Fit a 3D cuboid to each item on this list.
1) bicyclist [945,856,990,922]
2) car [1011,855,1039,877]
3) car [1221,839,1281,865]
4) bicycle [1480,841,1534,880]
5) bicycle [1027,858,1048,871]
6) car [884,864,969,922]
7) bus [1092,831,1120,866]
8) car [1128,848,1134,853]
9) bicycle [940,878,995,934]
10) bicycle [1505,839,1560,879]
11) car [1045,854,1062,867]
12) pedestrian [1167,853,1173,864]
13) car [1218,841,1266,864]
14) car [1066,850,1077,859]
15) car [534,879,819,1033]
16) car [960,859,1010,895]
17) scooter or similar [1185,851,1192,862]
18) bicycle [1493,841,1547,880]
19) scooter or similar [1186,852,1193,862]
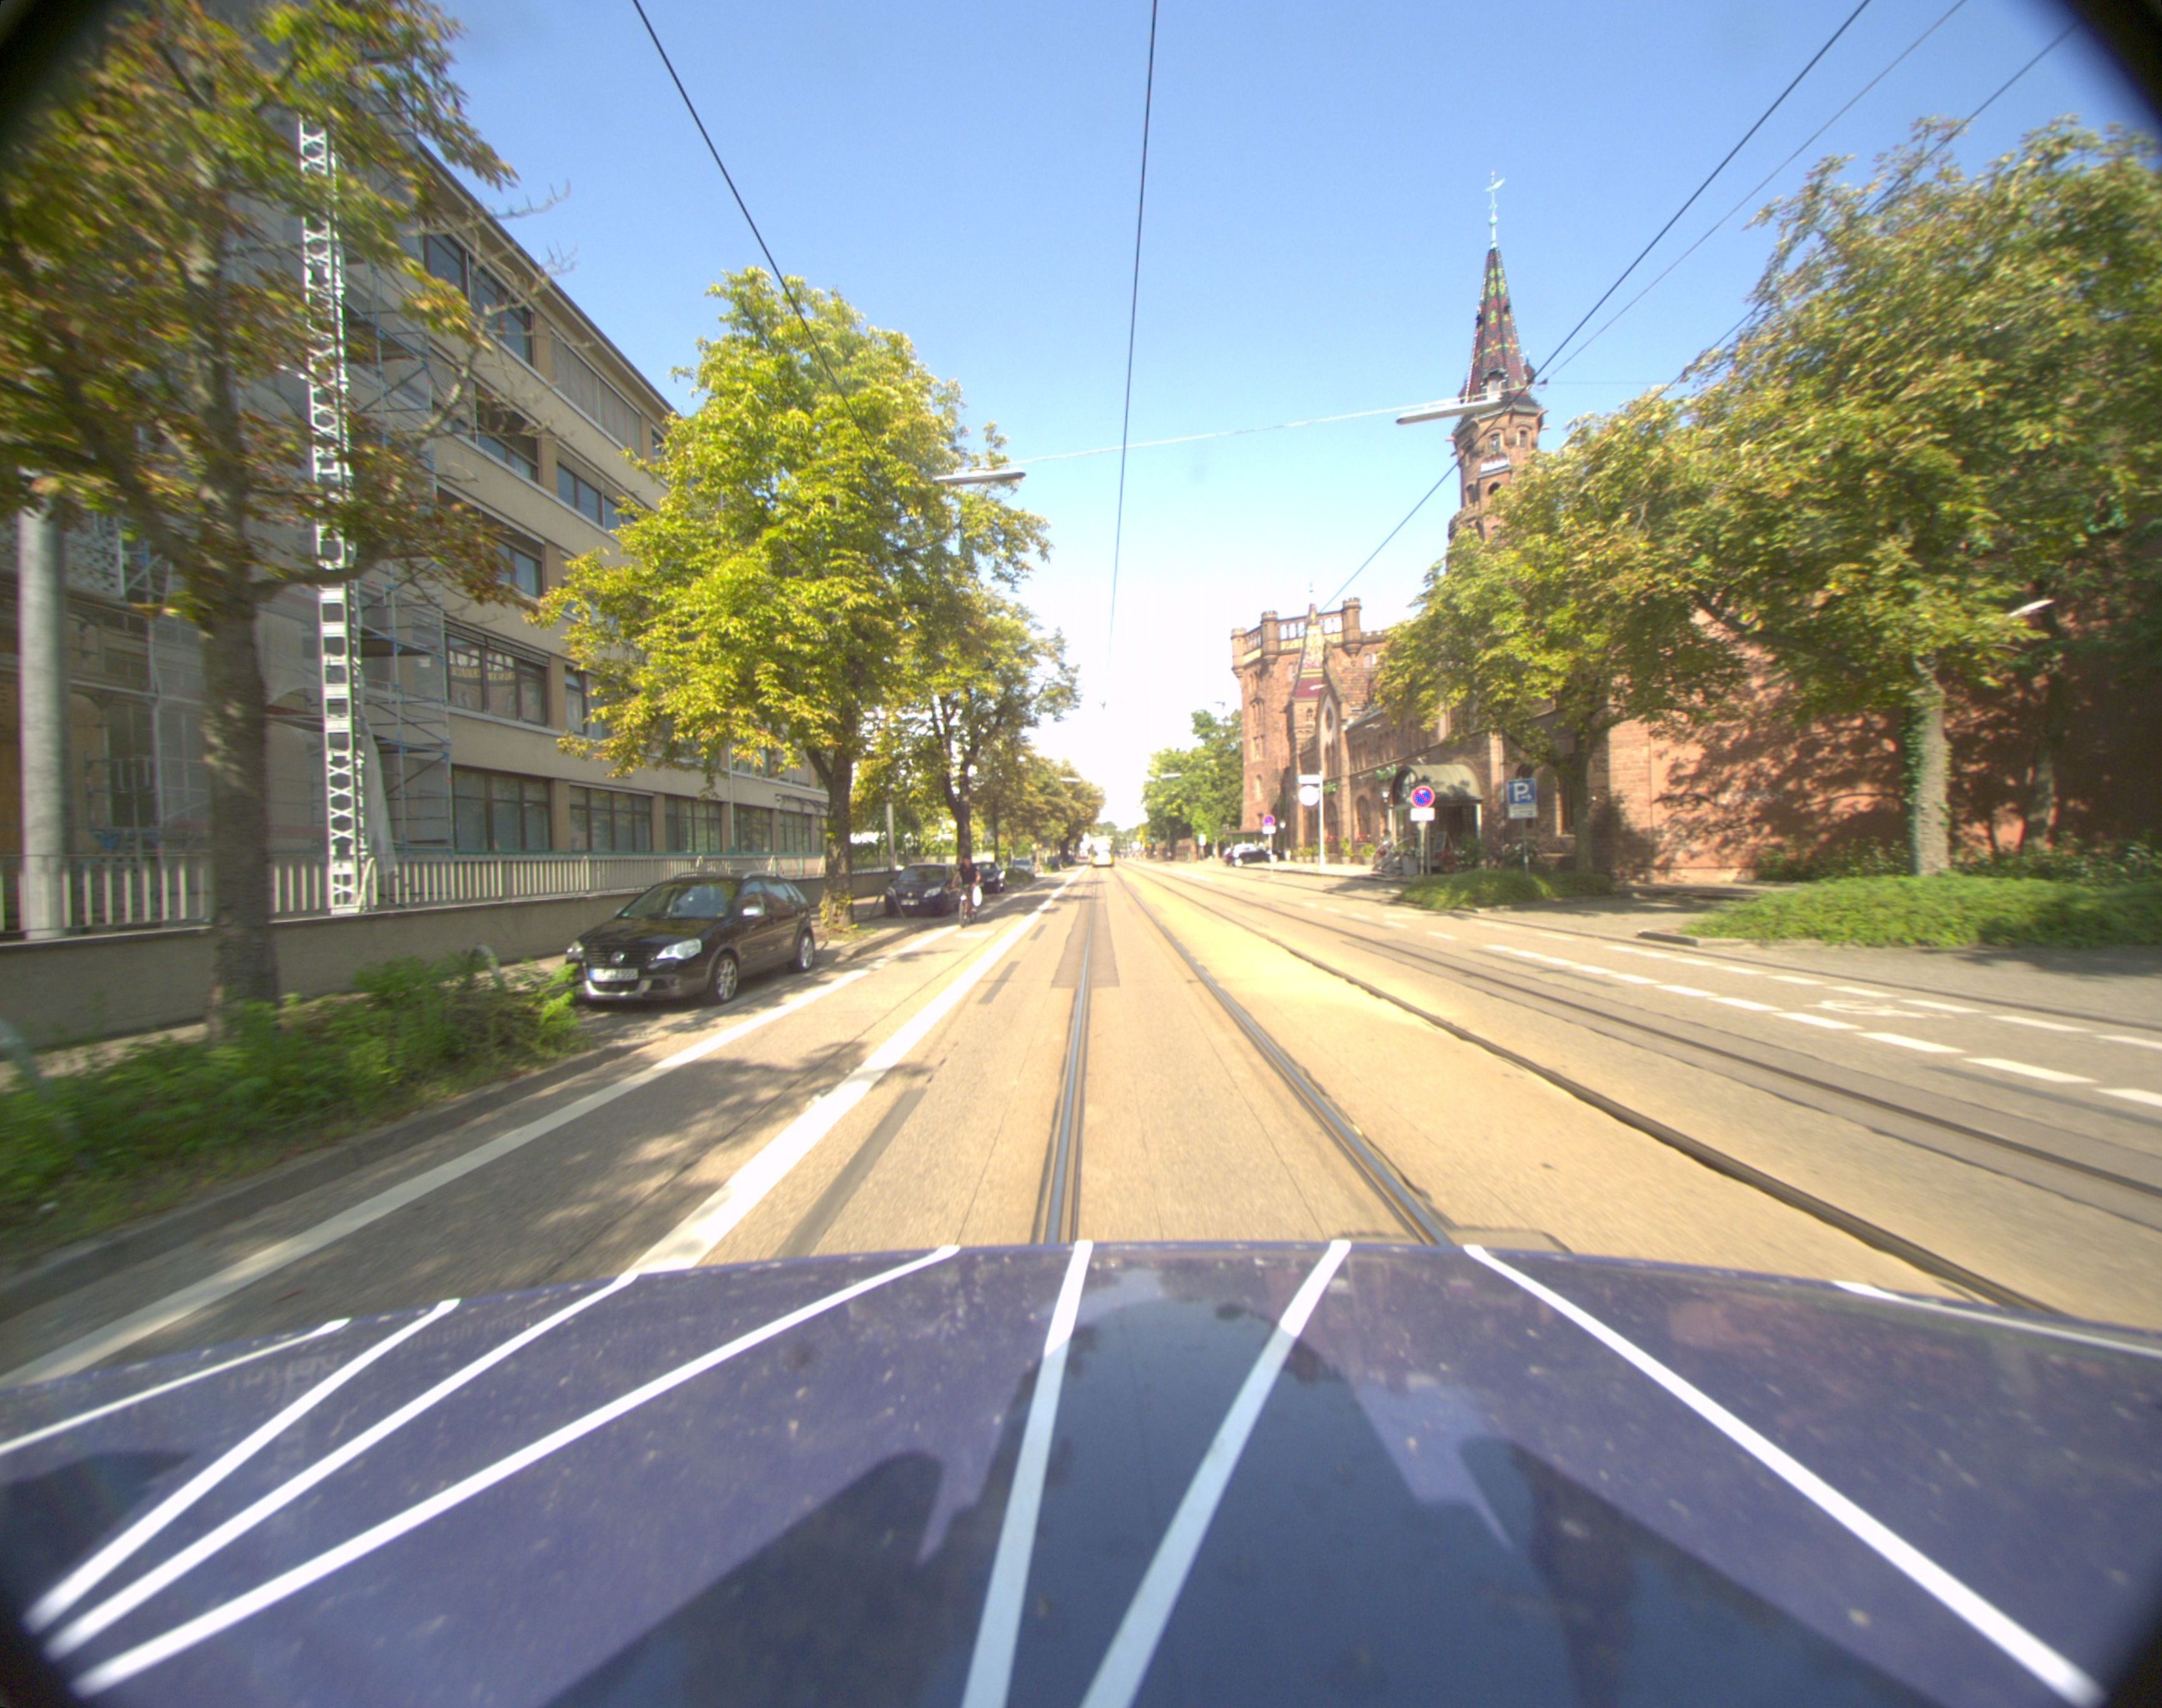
[{"bbox_3d":[-2.667,0.804,17.973,0.789,1.461,1.116,-2,1,3],"label":"bicyclist"},{"bbox_3d":[-3.912,0.844,53.248,1.644,1.421,3.988,-1,1,0],"label":"car"},{"bbox_3d":[13.911,-0.157,62.252,4.407,1.636,1.957,-6,0,2],"label":"car"},{"bbox_3d":[14.143,0.206,25.220,1.809,1.068,0.420,-7,2,-21],"label":"bicycle"},{"bbox_3d":[-3.720,0.903,65.719,1.773,1.058,0.796,0,1,-1],"label":"bicycle"},{"bbox_3d":[-4.513,1.095,22.688,1.650,1.502,3.778,0,0,2],"label":"car"},{"bbox_3d":[2.996,-0.600,88.816,2.900,3.771,9.320,-2,0,4],"label":"bus"},{"bbox_3d":[16.405,-1.159,249.891,1.694,1.433,4.000,-1,0,1],"label":"car"},{"bbox_3d":[-2.650,1.190,17.953,0.789,1.138,2.305,-2,1,3],"label":"bicycle"},{"bbox_3d":[14.483,0.158,24.349,1.809,1.068,0.420,-7,2,-21],"label":"bicycle"},{"bbox_3d":[-2.991,0.710,83.609,1.745,1.477,4.437,0,0,0],"label":"car"},{"bbox_3d":[12.805,0.598,108.994,0.717,1.580,0.775,-2,1,1],"label":"pedestrian"},{"bbox_3d":[14.396,-0.128,68.071,3.908,1.586,1.823,-6,0,4],"label":"car"},{"bbox_3d":[-1.700,0.111,135.703,1.866,1.643,4.183,0,0,0],"label":"car"},{"bbox_3d":[-4.884,1.125,9.825,1.579,1.476,3.738,0,0,2],"label":"car"},{"bbox_3d":[-4.324,0.994,34.713,1.650,1.420,4.084,-2,0,1],"label":"car"},{"bbox_3d":[12.578,0.303,88.929,0.818,1.142,0.283,-5,3,-35],"label":"scooter or similar"},{"bbox_3d":[14.327,0.203,24.787,1.809,1.068,0.420,-7,2,-21],"label":"bicycle"},{"bbox_3d":[12.538,0.364,87.633,0.818,1.142,0.283,-5,3,-35],"label":"scooter or similar"}]
